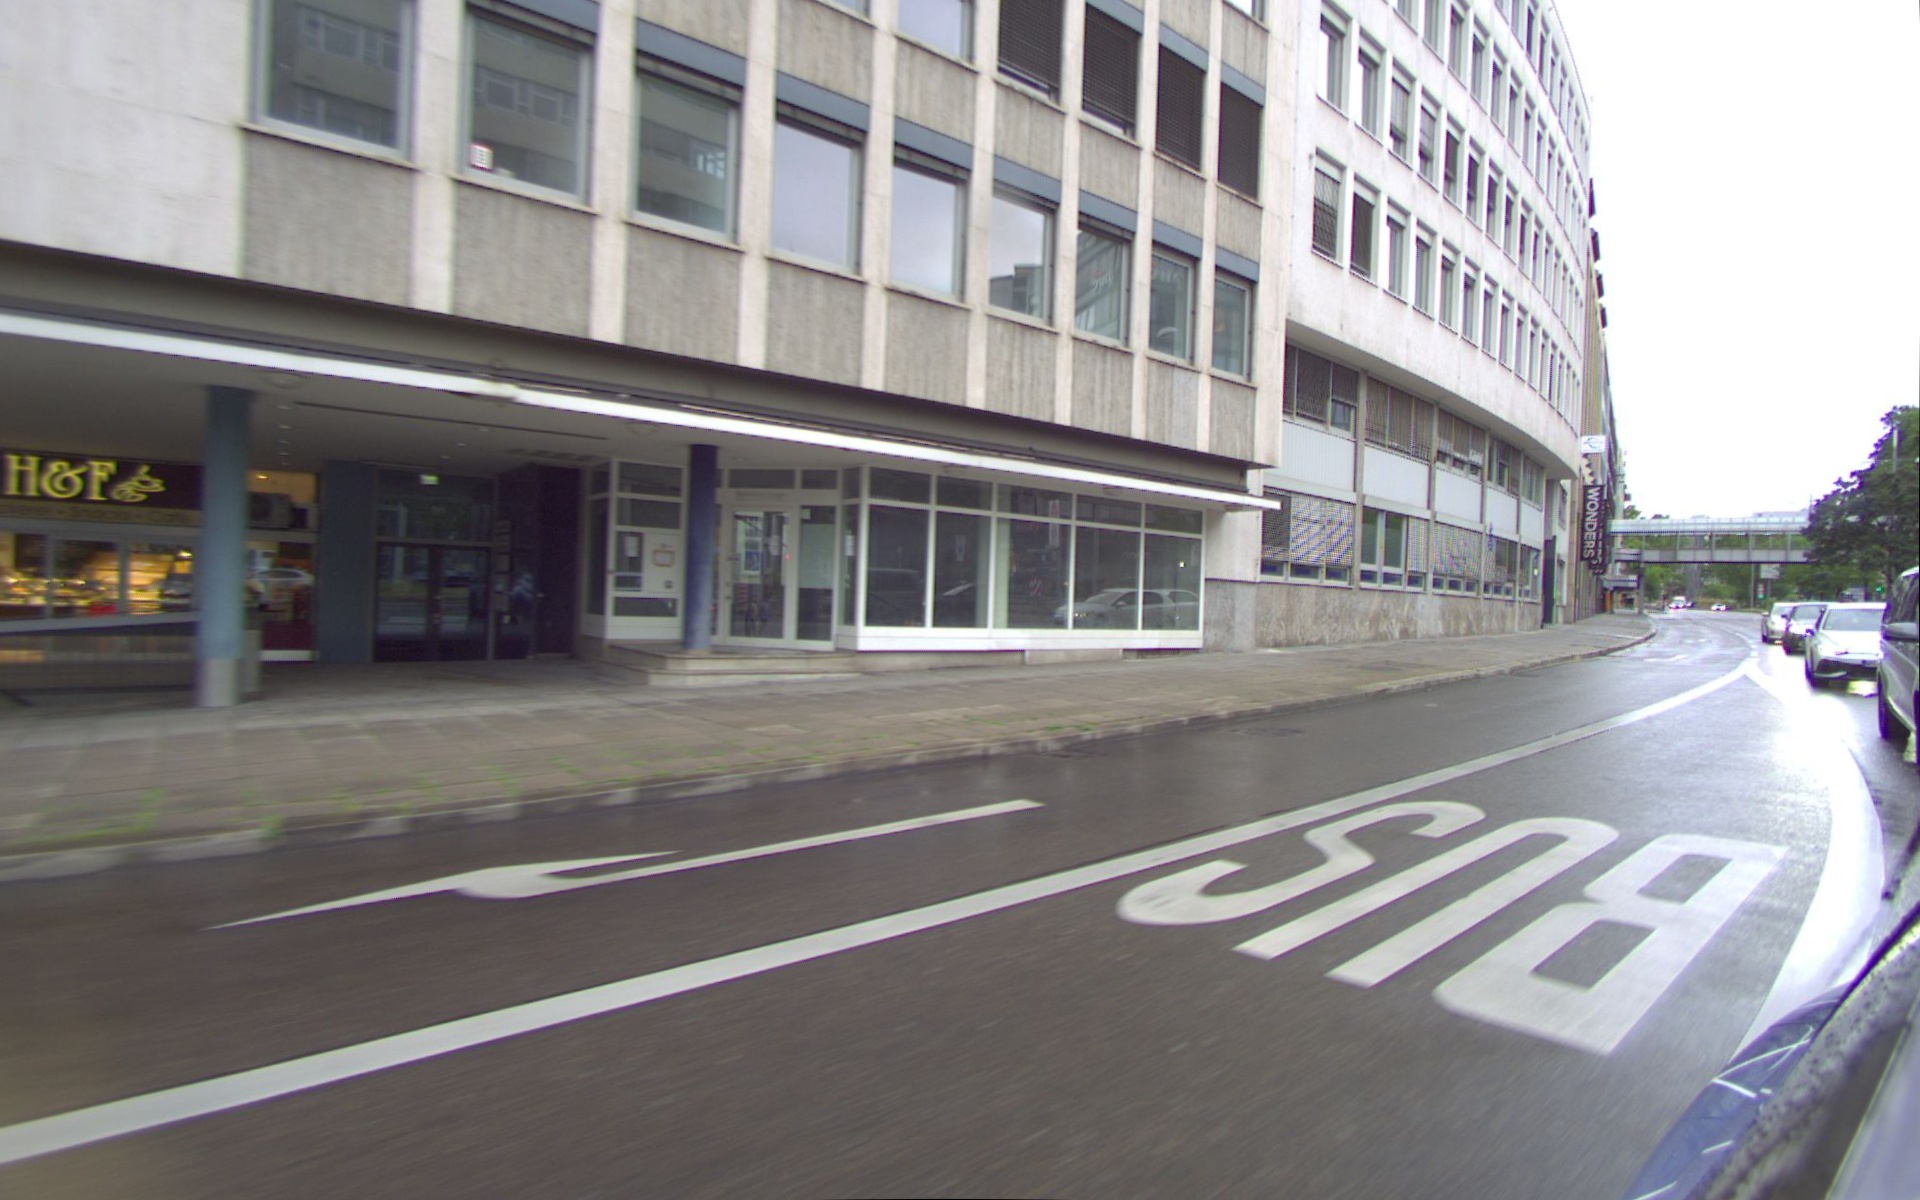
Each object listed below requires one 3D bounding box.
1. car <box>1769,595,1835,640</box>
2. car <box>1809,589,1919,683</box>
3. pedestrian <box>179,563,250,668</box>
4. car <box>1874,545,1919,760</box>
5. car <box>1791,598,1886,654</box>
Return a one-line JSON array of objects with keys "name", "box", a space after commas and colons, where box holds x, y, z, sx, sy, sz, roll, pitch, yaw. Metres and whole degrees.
[{"name": "car", "box": [30.273, 0.571, 36.469, 1.715, 1.483, 3.981, 0, 1, 38]}, {"name": "car", "box": [16.461, 0.592, 18.028, 1.921, 1.498, 3.943, 1, 0, 39]}, {"name": "pedestrian", "box": [-13.251, 0.266, 17.999, 0.791, 1.827, 0.706, 0, 0, 21]}, {"name": "car", "box": [9.868, 0.465, 9.204, 1.907, 1.879, 4.957, 0, 0, 38]}, {"name": "car", "box": [25.845, 0.706, 29.796, 1.992, 1.483, 4.339, 0, 1, 41]}]
